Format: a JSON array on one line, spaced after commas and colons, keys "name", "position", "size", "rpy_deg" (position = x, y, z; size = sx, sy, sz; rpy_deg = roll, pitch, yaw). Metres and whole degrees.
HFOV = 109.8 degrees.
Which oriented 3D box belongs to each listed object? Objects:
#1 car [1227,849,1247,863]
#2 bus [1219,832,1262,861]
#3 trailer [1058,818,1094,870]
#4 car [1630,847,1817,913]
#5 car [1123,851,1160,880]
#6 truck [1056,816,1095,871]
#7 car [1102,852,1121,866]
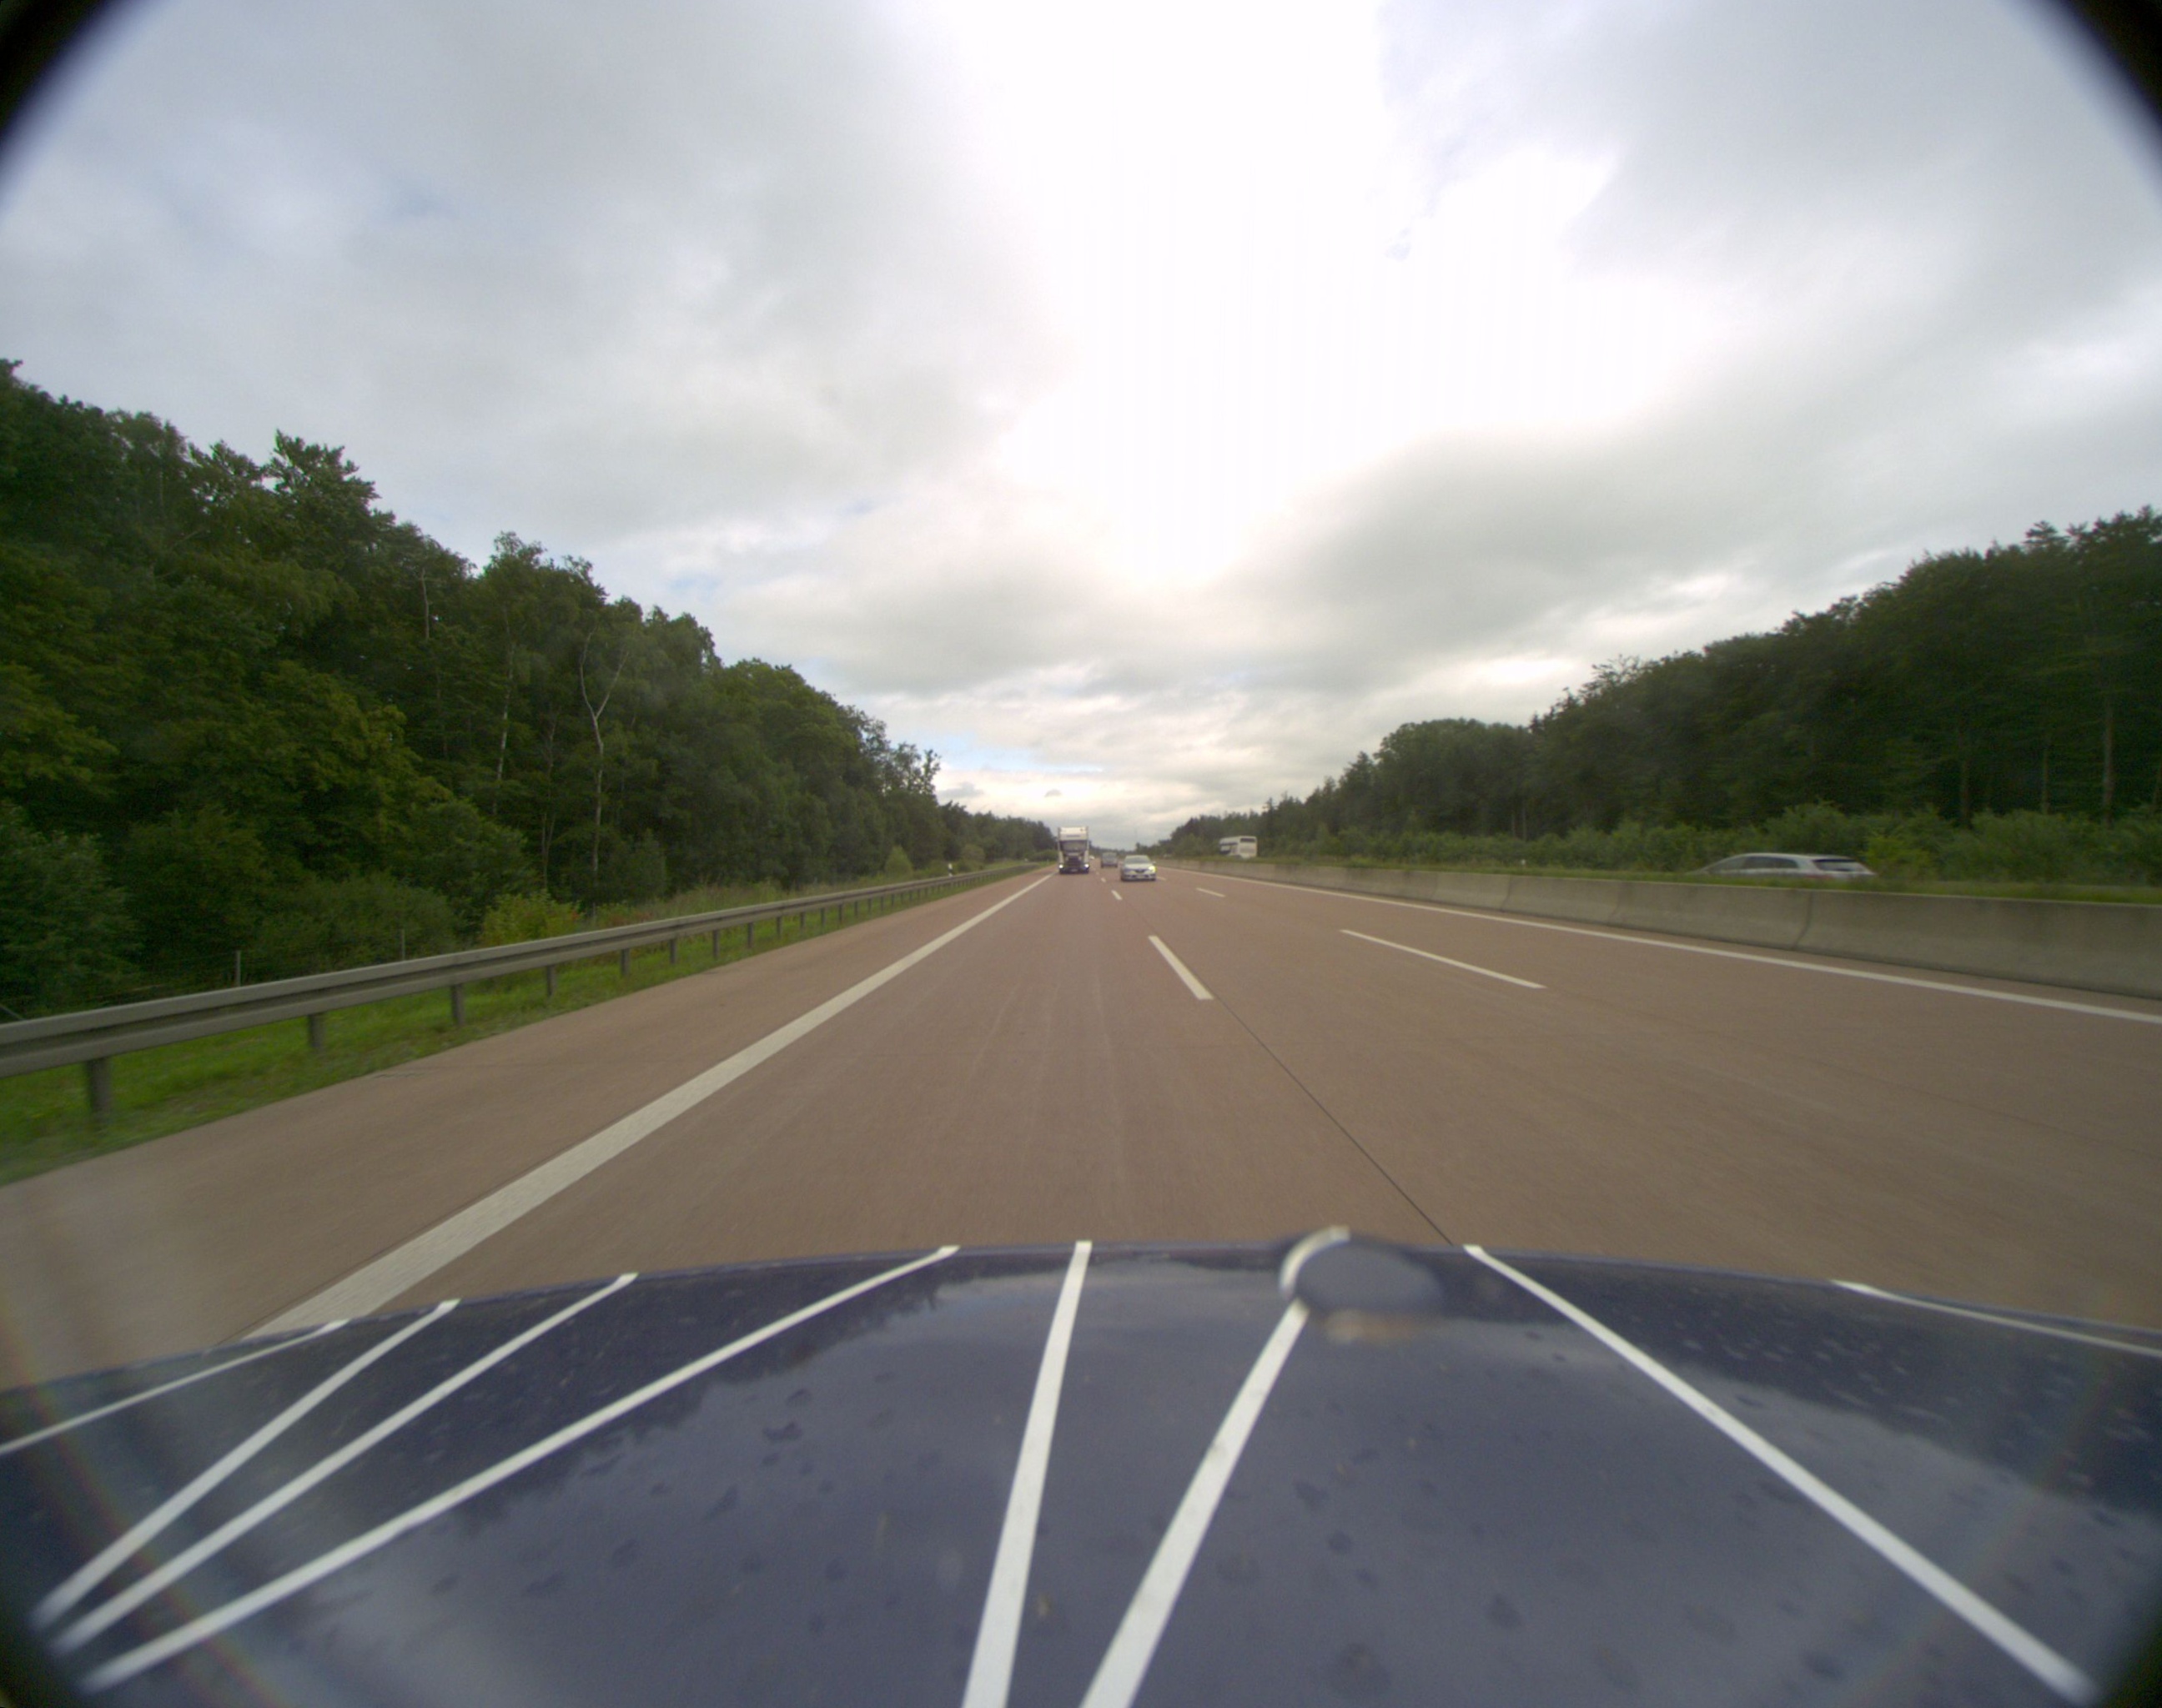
[{"name": "car", "position": [19.201, 0.255, 93.642], "size": [1.738, 1.608, 4.000], "rpy_deg": [-2, 0, 1]}, {"name": "bus", "position": [22.891, -1.087, 110.229], "size": [3.056, 3.866, 14.360], "rpy_deg": [-2, 0, 0]}, {"name": "trailer", "position": [-0.375, -0.862, 70.855], "size": [2.929, 4.269, 13.612], "rpy_deg": [-2, 0, 0]}, {"name": "car", "position": [18.783, 0.692, 22.512], "size": [1.998, 1.643, 4.165], "rpy_deg": [-4, 0, 1]}, {"name": "car", "position": [3.380, 0.643, 43.178], "size": [1.923, 1.515, 4.001], "rpy_deg": [-2, 0, 2]}, {"name": "truck", "position": [-0.412, -0.859, 62.955], "size": [2.929, 4.269, 5.334], "rpy_deg": [-2, 1, 0]}, {"name": "car", "position": [3.579, 0.588, 89.697], "size": [1.986, 1.499, 4.052], "rpy_deg": [-2, 0, 1]}]
